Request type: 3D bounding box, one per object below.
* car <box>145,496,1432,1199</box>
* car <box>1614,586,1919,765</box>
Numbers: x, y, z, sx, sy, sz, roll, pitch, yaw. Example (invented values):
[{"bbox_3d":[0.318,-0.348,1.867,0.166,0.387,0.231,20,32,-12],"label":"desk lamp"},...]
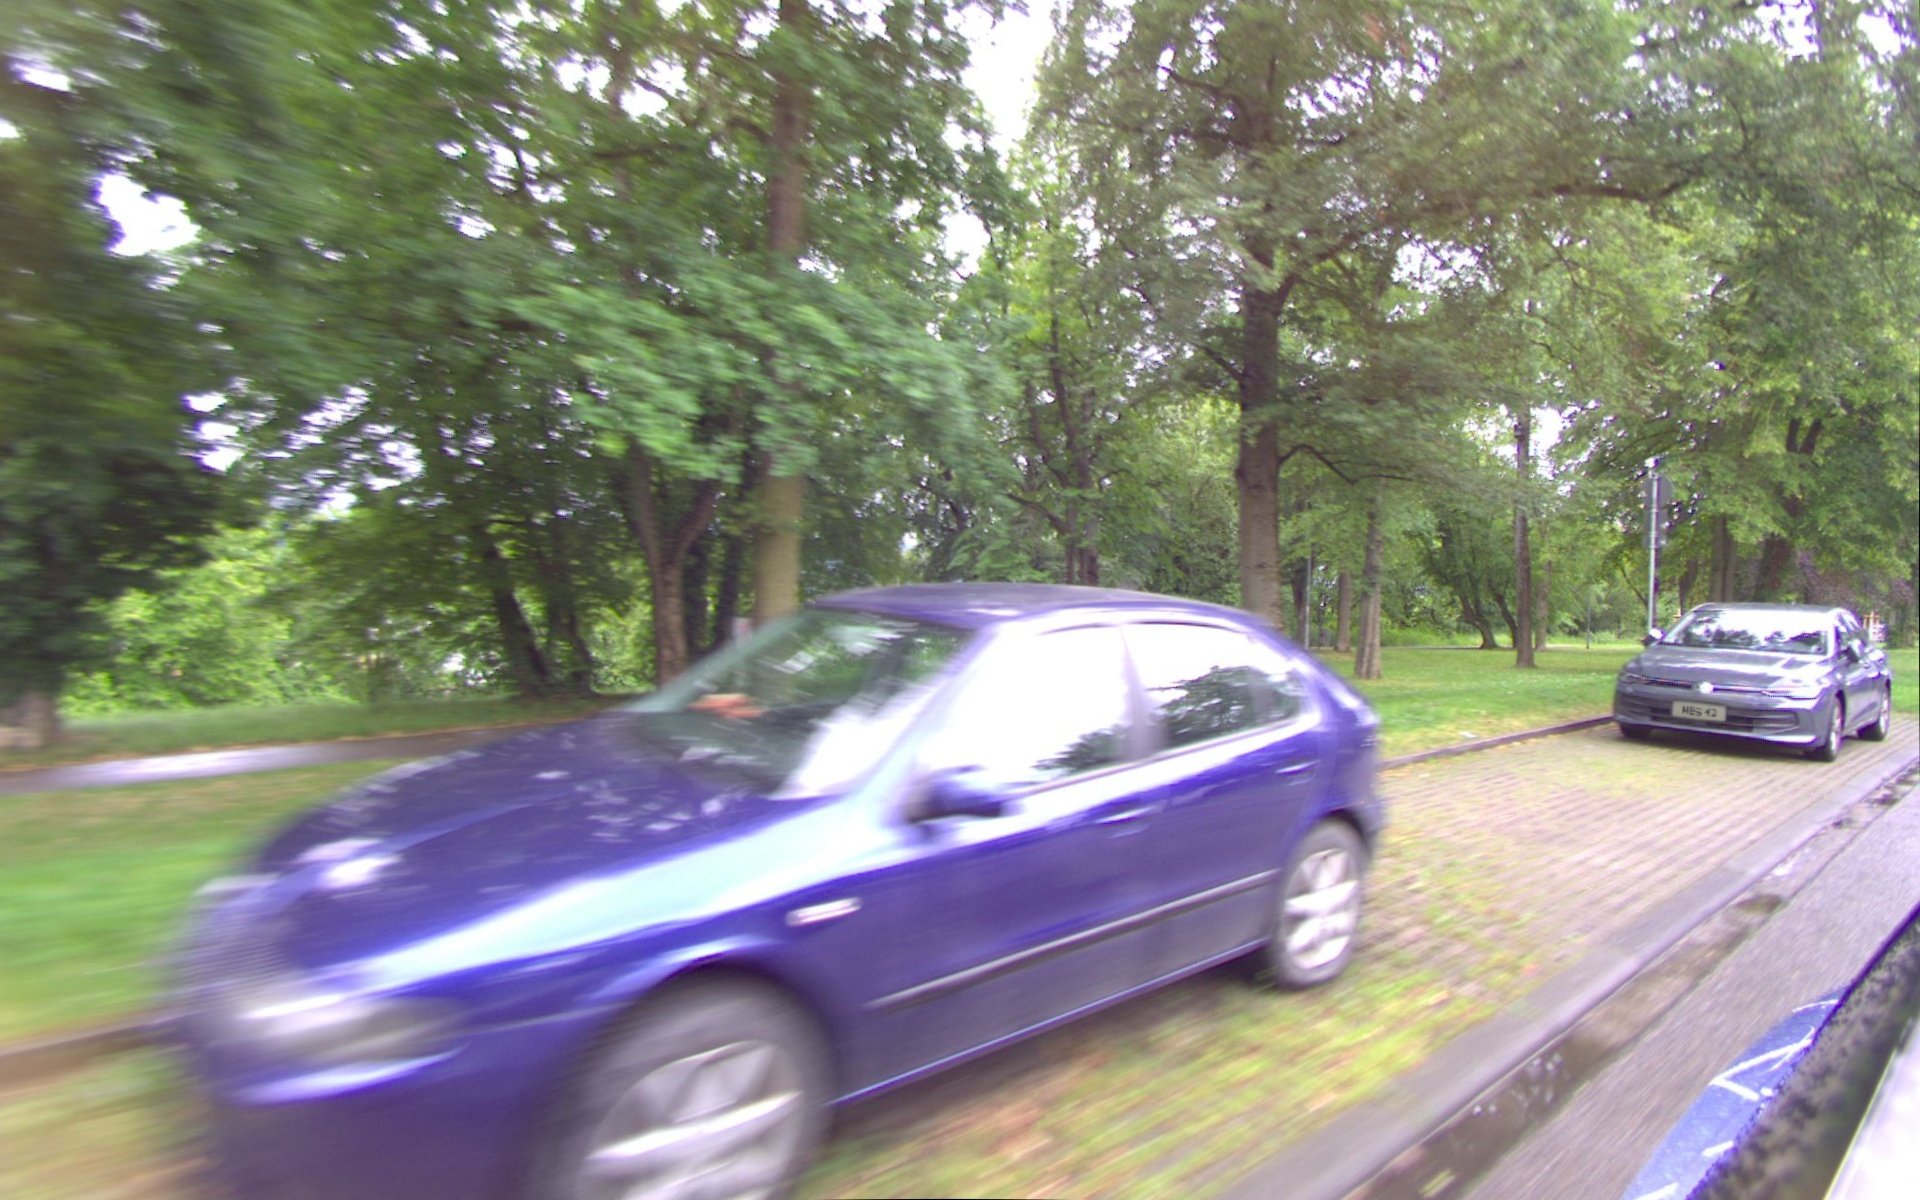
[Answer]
[{"bbox_3d":[-0.234,0.535,3.441,3.928,1.470,1.748,1,3,-39],"label":"car"},{"bbox_3d":[8.669,0.652,10.752,4.142,1.479,1.705,0,3,-40],"label":"car"}]
